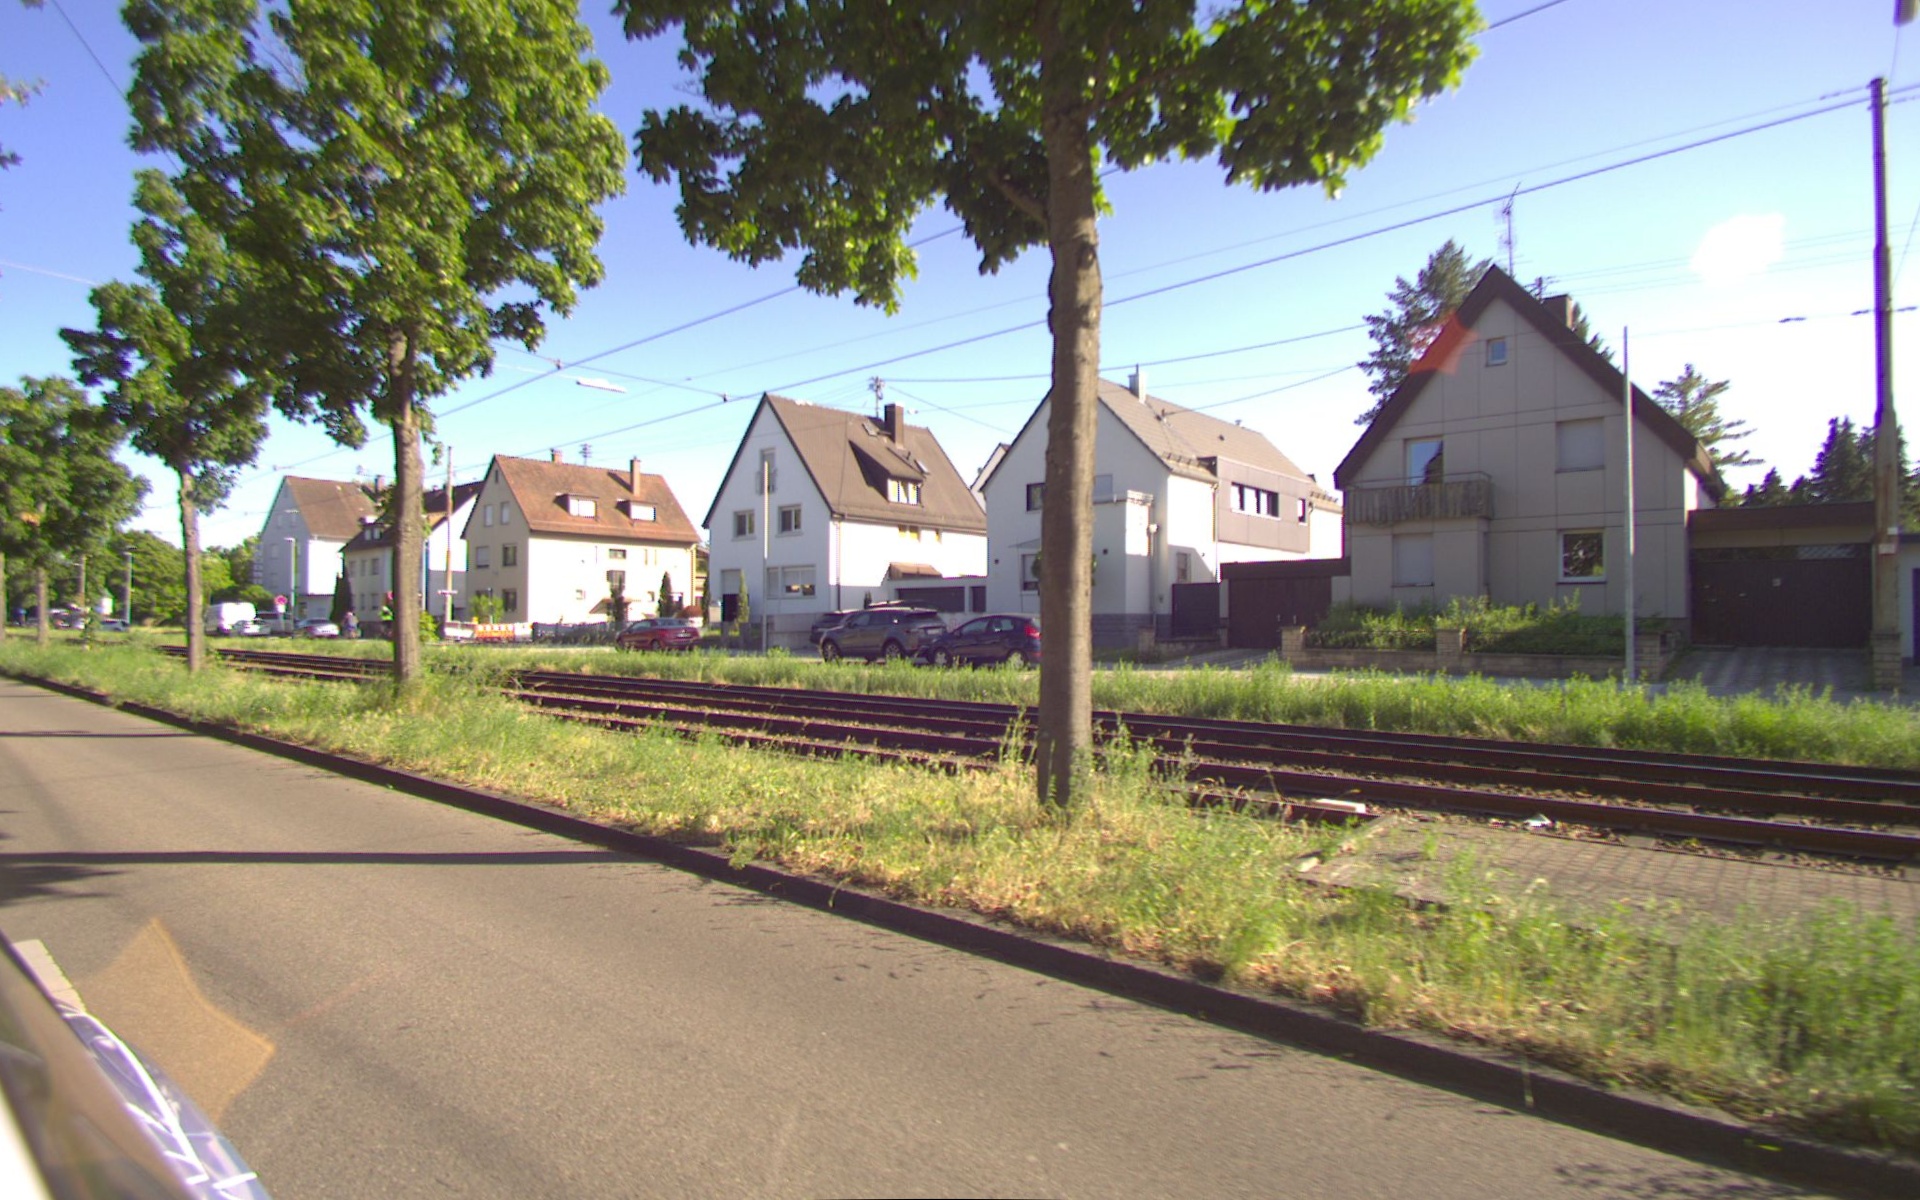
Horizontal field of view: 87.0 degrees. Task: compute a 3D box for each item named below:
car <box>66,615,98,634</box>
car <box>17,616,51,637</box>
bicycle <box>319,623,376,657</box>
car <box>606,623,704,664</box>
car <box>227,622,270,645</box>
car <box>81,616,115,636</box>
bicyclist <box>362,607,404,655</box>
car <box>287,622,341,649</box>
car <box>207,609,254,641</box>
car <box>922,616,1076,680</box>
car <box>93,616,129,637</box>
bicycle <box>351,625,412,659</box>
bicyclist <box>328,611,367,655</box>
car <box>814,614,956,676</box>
[{"bbox_3d":[-98.495,2.777,113.514,3.997,2.050,2.106,-1,0,40],"label":"car"},{"bbox_3d":[-96.356,2.751,105.275,3.997,2.050,2.106,-1,0,40],"label":"car"},{"bbox_3d":[-31.290,2.015,51.661,3.998,1.589,1.336,-1,0,41],"label":"bicycle"},{"bbox_3d":[-11.321,1.573,37.449,3.821,1.392,1.733,-1,0,41],"label":"car"},{"bbox_3d":[-50.139,2.358,71.274,4.001,1.517,1.767,-1,0,44],"label":"car"},{"bbox_3d":[-90.239,2.670,105.970,3.997,2.050,2.106,-1,0,40],"label":"car"},{"bbox_3d":[-27.654,1.470,48.512,1.622,2.250,1.293,-1,0,41],"label":"bicyclist"},{"bbox_3d":[-39.666,2.139,62.095,3.998,1.517,1.768,-1,0,41],"label":"car"},{"bbox_3d":[-53.892,1.796,74.728,4.001,2.239,2.104,-1,0,44],"label":"car"},{"bbox_3d":[0.972,1.241,26.370,3.754,1.501,1.716,-3,-1,41],"label":"car"},{"bbox_3d":[-85.494,2.609,101.906,3.997,2.050,2.106,-1,0,40],"label":"car"},{"bbox_3d":[-27.844,1.977,48.665,3.998,1.506,1.336,-1,0,41],"label":"bicycle"},{"bbox_3d":[-31.211,1.670,51.557,1.308,2.176,1.336,-1,0,41],"label":"bicyclist"},{"bbox_3d":[-2.195,1.234,29.020,4.010,1.609,1.779,-1,0,41],"label":"car"}]
